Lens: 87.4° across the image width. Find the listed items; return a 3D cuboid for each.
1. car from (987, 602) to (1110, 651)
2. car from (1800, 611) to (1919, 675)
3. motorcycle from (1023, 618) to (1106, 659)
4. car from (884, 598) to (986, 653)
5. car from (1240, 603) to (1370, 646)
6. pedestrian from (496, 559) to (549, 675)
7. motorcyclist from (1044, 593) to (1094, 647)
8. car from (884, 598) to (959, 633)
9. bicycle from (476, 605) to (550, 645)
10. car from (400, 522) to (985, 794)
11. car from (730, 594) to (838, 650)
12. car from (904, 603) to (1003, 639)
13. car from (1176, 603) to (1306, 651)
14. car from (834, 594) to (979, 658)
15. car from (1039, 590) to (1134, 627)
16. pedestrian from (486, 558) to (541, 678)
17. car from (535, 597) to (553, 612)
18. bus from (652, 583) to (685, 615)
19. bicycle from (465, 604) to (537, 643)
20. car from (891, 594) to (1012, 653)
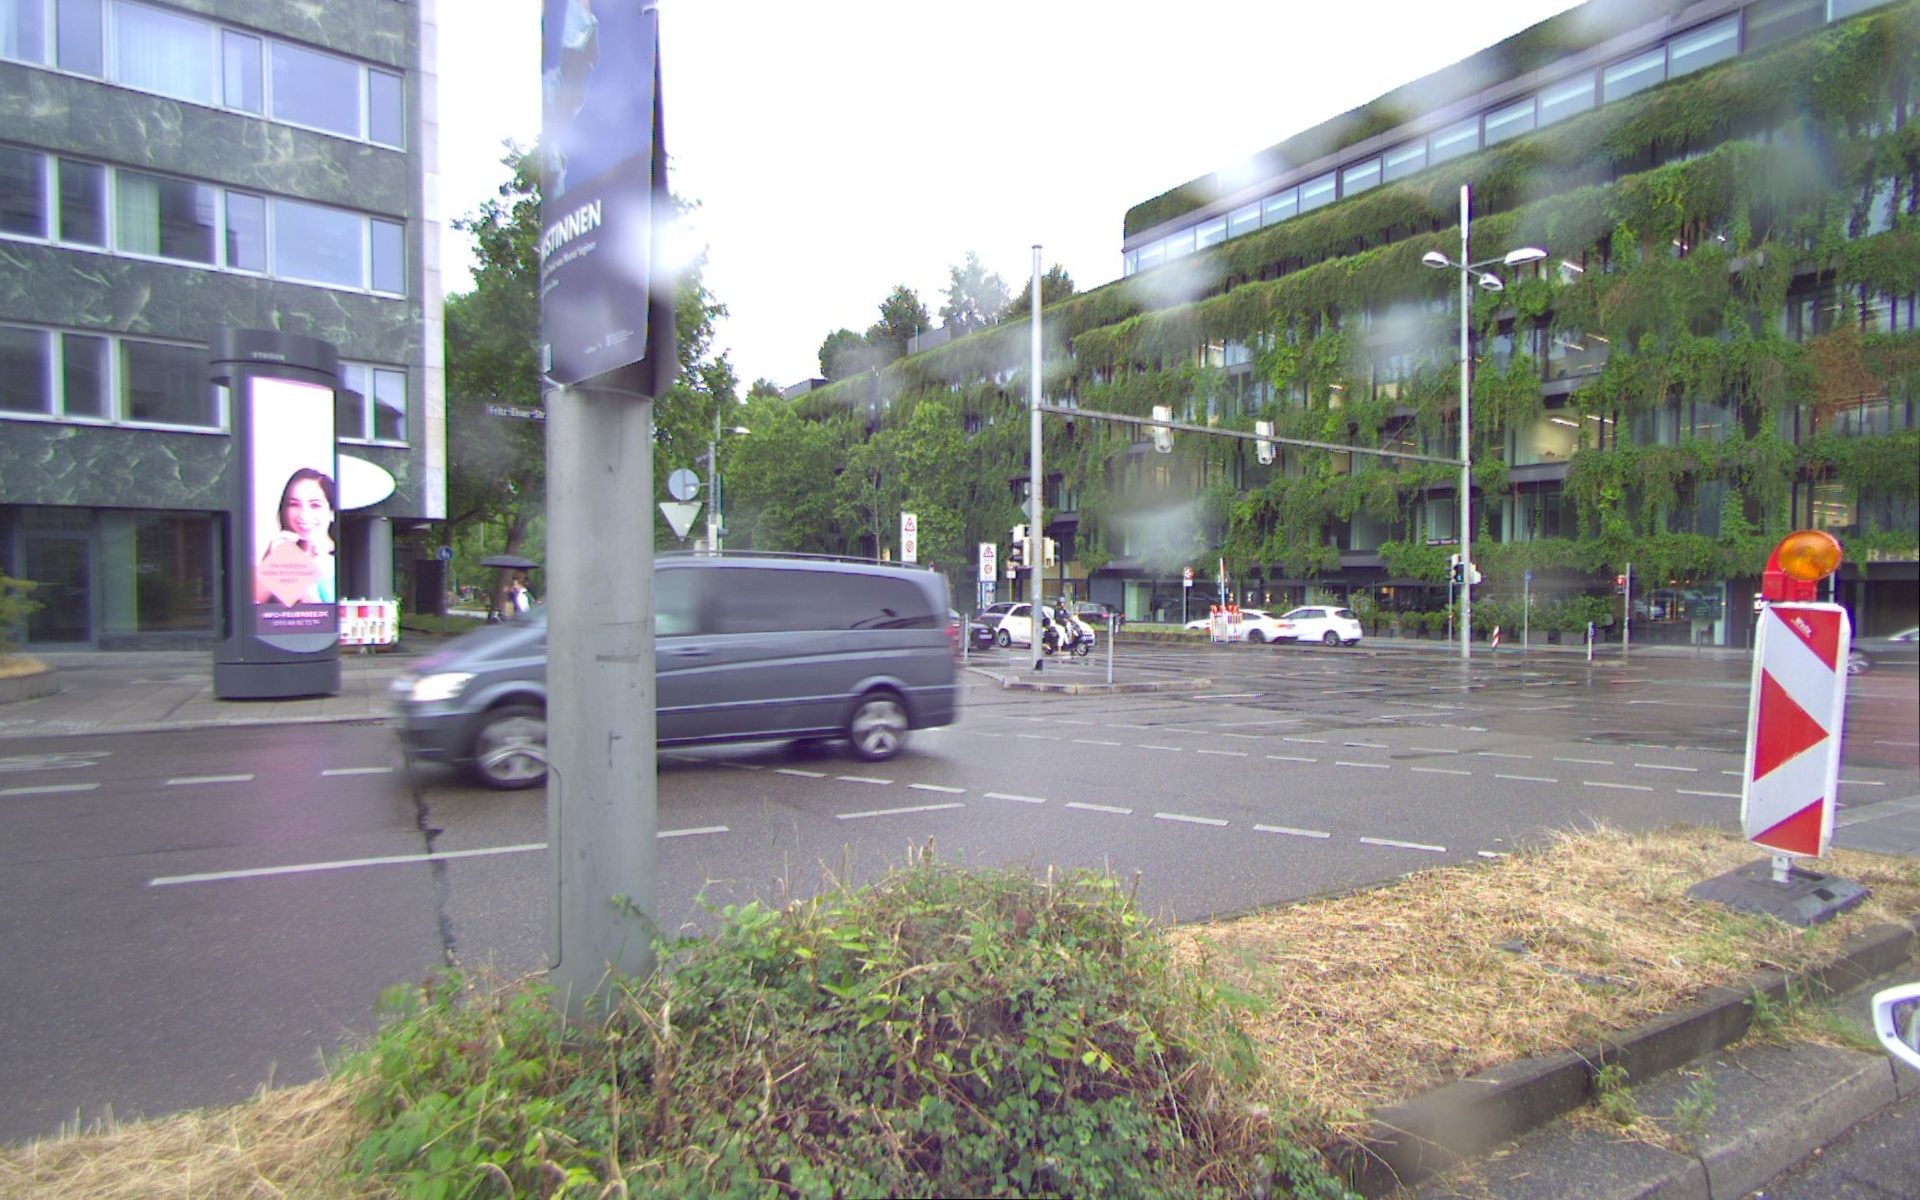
[{"bbox_3d":[2.882,0.854,33.463,1.981,1.495,3.958,1,0,-37],"label":"car"},{"bbox_3d":[24.268,1.125,25.140,1.987,1.496,4.798,3,-1,-44],"label":"car"},{"bbox_3d":[3.003,1.091,29.102,2.331,1.068,0.830,2,0,41],"label":"motorcycle"},{"bbox_3d":[-1.002,0.909,37.761,1.978,1.923,4.139,1,0,-33],"label":"car"},{"bbox_3d":[13.796,0.949,40.380,1.799,1.532,4.636,2,0,-45],"label":"car"},{"bbox_3d":[-7.882,0.310,18.114,0.715,2.040,0.598,1,0,-10],"label":"pedestrian"},{"bbox_3d":[3.143,0.579,28.990,1.153,1.492,0.832,2,0,40],"label":"motorcyclist"},{"bbox_3d":[-2.039,0.778,52.650,1.837,1.692,3.952,2,0,-41],"label":"car"},{"bbox_3d":[-12.288,0.675,27.631,1.765,1.066,0.581,1,0,-35],"label":"bicycle"},{"bbox_3d":[-2.356,0.491,9.426,4.913,1.953,1.981,2,-1,-34],"label":"car"},{"bbox_3d":[-6.009,0.694,34.032,1.982,1.773,3.956,1,0,-38],"label":"car"},{"bbox_3d":[-0.321,0.838,41.086,1.982,1.389,4.131,1,0,-37],"label":"car"},{"bbox_3d":[11.005,1.019,39.579,1.798,1.532,4.638,2,2,-43],"label":"car"},{"bbox_3d":[-1.631,0.698,29.197,1.984,1.709,4.314,1,0,-41],"label":"car"},{"bbox_3d":[6.097,0.379,48.868,1.985,1.660,4.364,2,0,-42],"label":"car"},{"bbox_3d":[-7.752,0.313,17.476,0.715,2.040,0.598,1,0,-10],"label":"pedestrian"},{"bbox_3d":[-57.200,0.632,138.152,1.975,2.040,3.972,2,0,-27],"label":"car"},{"bbox_3d":[-32.015,-0.162,110.229,1.783,3.385,5.922,2,0,-34],"label":"bus"},{"bbox_3d":[-12.967,0.660,28.408,1.765,1.066,0.581,1,0,-35],"label":"bicycle"},{"bbox_3d":[-0.338,0.706,32.483,1.981,1.773,3.958,1,0,-37],"label":"car"}]
